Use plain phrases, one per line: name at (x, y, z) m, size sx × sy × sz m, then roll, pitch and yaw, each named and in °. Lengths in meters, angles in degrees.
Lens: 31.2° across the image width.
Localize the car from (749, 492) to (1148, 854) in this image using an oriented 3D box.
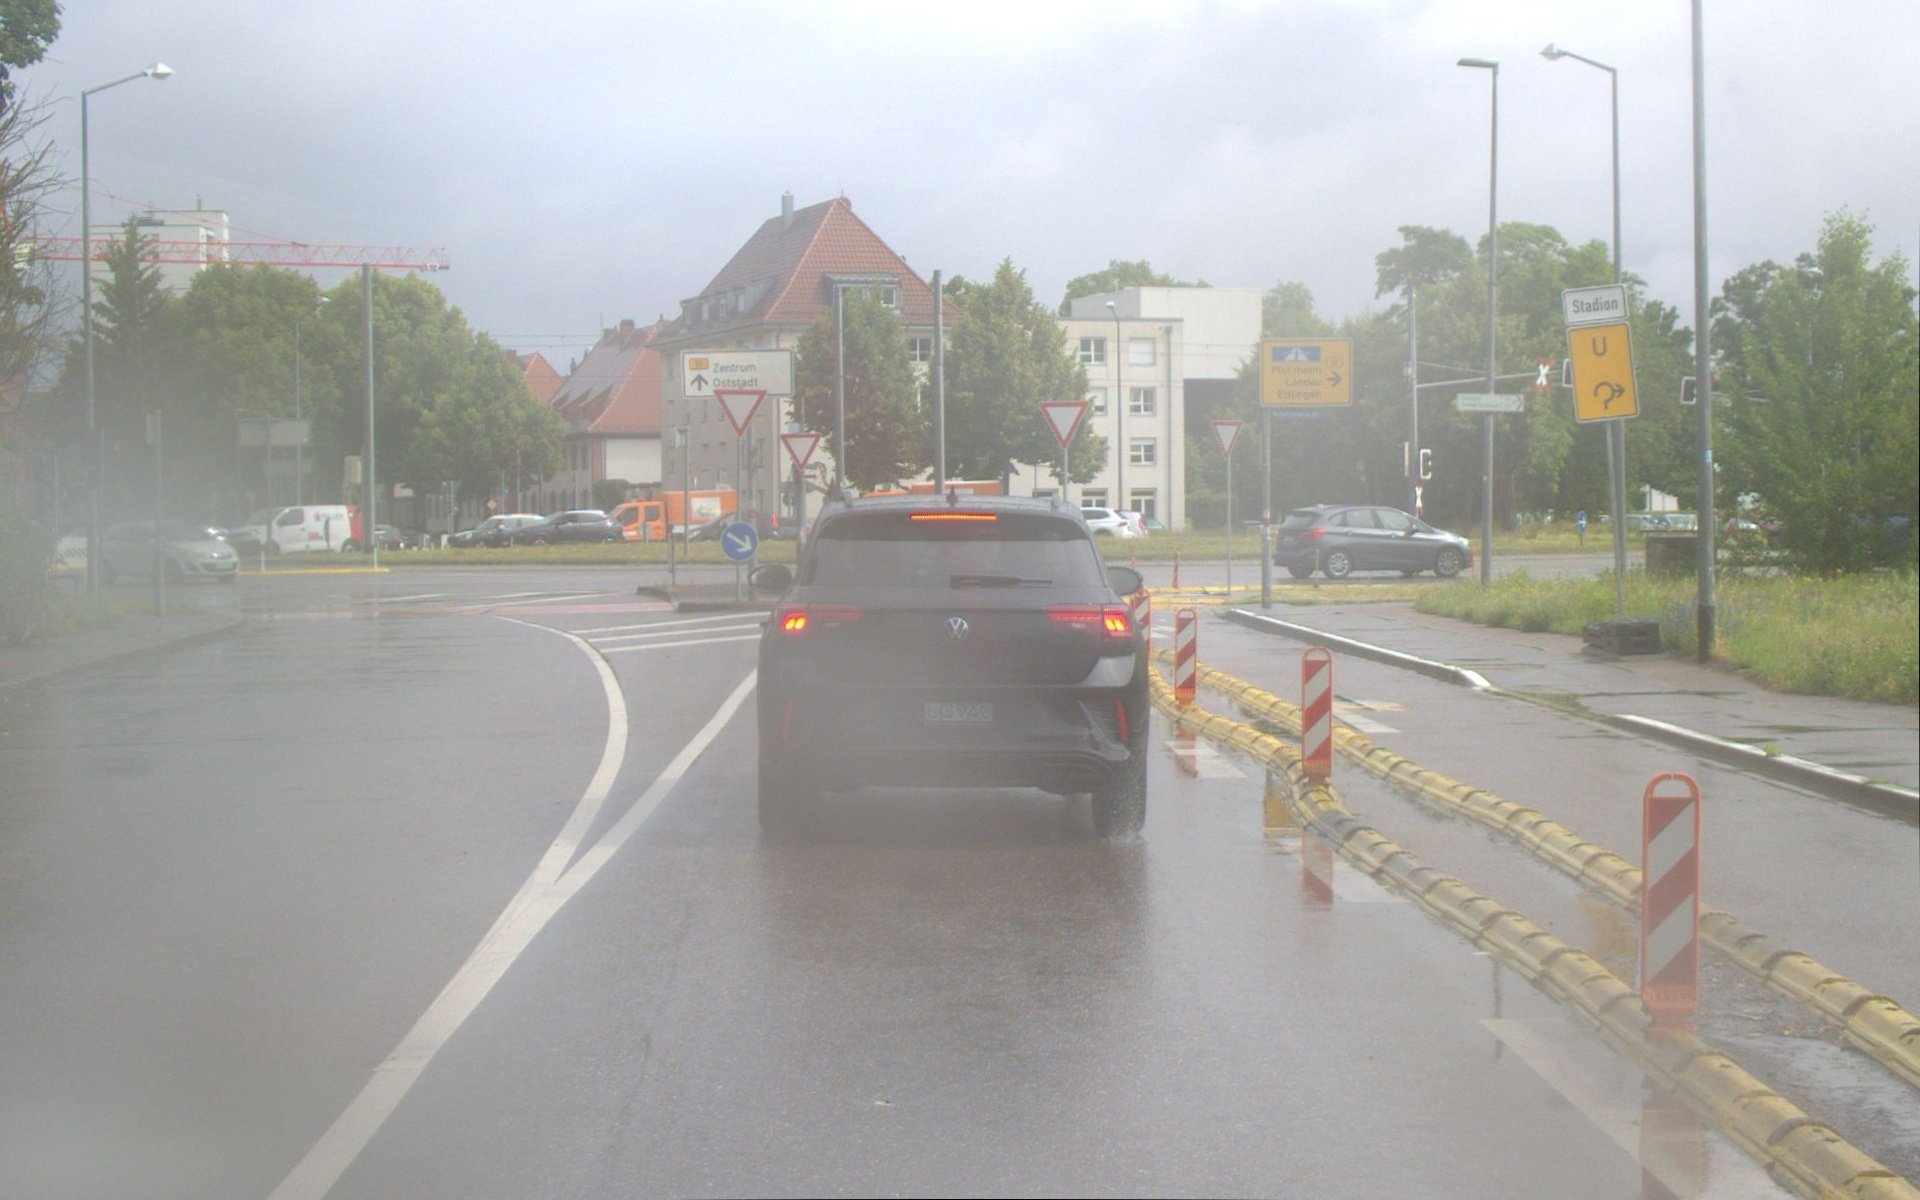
car at (-0.162, 0.284, 16.867) m, size 1.708 × 1.568 × 3.683 m, roll 0°, pitch 1°, yaw -4°

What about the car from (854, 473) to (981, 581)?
car at (-0.696, -1.276, 59.552) m, size 1.864 × 1.803 × 4.403 m, roll 0°, pitch 2°, yaw 4°

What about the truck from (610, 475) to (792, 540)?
truck at (-10.159, -3.636, 134.872) m, size 6.700 × 2.434 × 2.435 m, roll -1°, pitch 2°, yaw -18°

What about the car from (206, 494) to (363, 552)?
car at (-22.838, -2.620, 116.373) m, size 1.893 × 1.869 × 5.120 m, roll 1°, pitch 2°, yaw 41°

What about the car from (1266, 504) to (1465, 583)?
car at (8.599, -1.221, 72.837) m, size 3.941 × 1.639 × 1.671 m, roll -1°, pitch 2°, yaw -28°

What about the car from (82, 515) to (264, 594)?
car at (-18.501, -1.078, 80.794) m, size 3.995 × 1.824 × 1.996 m, roll 0°, pitch 2°, yaw 35°

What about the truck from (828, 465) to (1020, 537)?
truck at (-1.316, -3.684, 127.724) m, size 7.066 × 2.641 × 2.330 m, roll 0°, pitch 1°, yaw 1°
